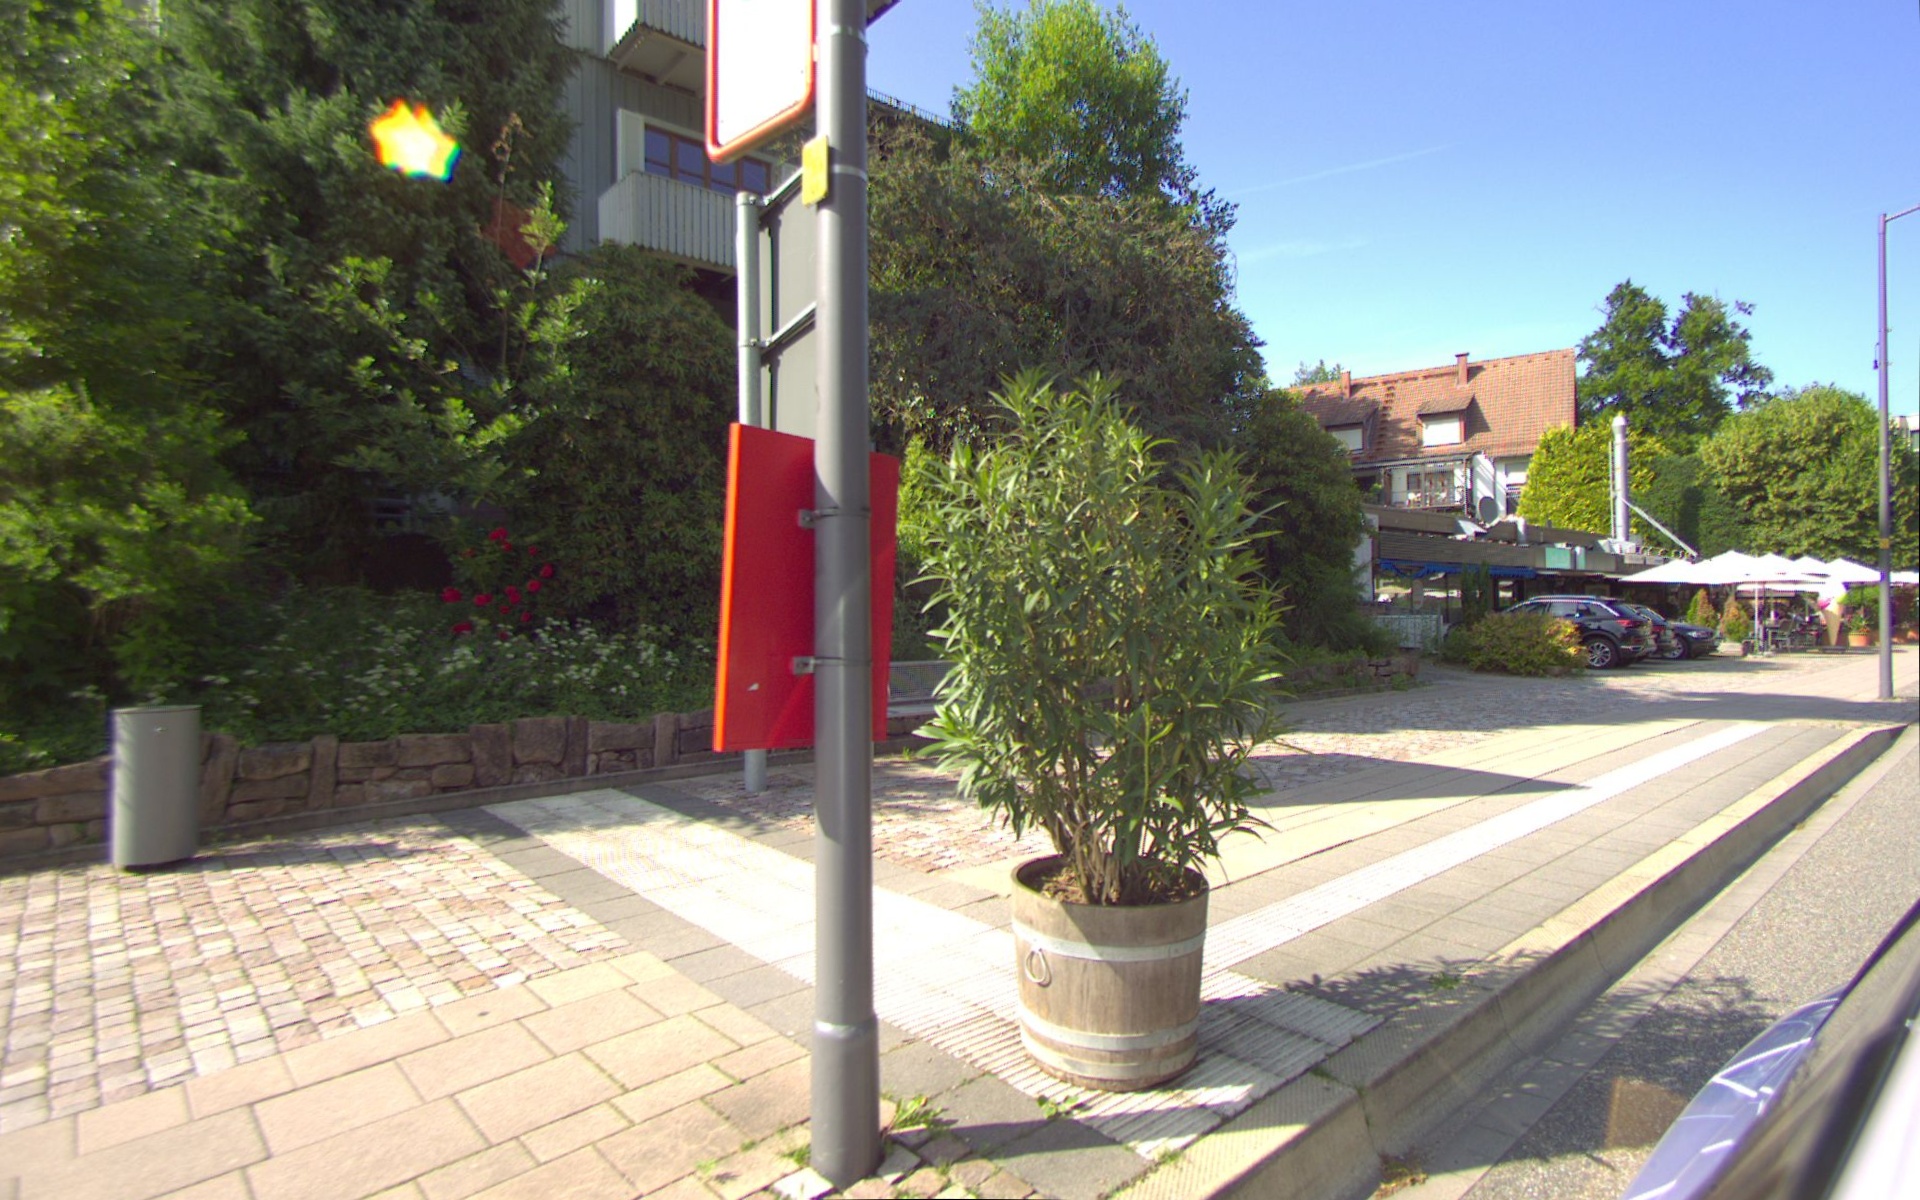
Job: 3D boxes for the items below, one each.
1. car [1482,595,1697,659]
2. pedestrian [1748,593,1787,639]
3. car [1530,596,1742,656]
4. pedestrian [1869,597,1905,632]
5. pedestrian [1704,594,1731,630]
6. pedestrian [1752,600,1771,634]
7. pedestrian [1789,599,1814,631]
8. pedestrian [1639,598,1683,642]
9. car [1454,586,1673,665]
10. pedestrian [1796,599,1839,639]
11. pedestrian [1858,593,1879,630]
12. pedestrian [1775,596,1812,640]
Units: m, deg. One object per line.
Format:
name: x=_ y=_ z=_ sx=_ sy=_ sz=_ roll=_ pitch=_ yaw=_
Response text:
car: x=15.286 y=0.620 z=24.764 sx=1.717 sy=1.433 sz=4.118 roll=-1 pitch=0 yaw=-39
pedestrian: x=24.923 y=0.490 z=31.239 sx=0.692 sy=1.399 sz=0.807 roll=-1 pitch=-1 yaw=20
car: x=17.448 y=0.633 z=26.289 sx=1.678 sy=1.396 sz=4.271 roll=-1 pitch=0 yaw=-39
pedestrian: x=35.268 y=0.541 z=38.493 sx=0.634 sy=1.300 sz=0.949 roll=0 pitch=0 yaw=-41
pedestrian: x=27.740 y=0.431 z=37.064 sx=0.629 sy=1.321 sz=0.578 roll=0 pitch=0 yaw=14
pedestrian: x=31.017 y=0.645 z=39.167 sx=0.498 sy=1.284 sz=0.410 roll=0 pitch=0 yaw=-29
pedestrian: x=33.367 y=0.591 z=40.131 sx=0.685 sy=1.247 sz=0.509 roll=0 pitch=0 yaw=-20
pedestrian: x=20.785 y=0.592 z=30.018 sx=0.795 sy=1.277 sz=0.702 roll=0 pitch=-1 yaw=-14
car: x=13.375 y=0.539 z=22.593 sx=1.719 sy=1.600 sz=3.878 roll=0 pitch=-1 yaw=-43
pedestrian: x=28.003 y=0.617 z=33.051 sx=0.686 sy=1.277 sz=0.814 roll=0 pitch=-1 yaw=-21
pedestrian: x=30.905 y=0.382 z=34.426 sx=0.470 sy=1.261 sz=0.586 roll=0 pitch=1 yaw=34
pedestrian: x=24.502 y=0.531 z=29.763 sx=0.809 sy=1.277 sz=0.690 roll=-1 pitch=-1 yaw=42
